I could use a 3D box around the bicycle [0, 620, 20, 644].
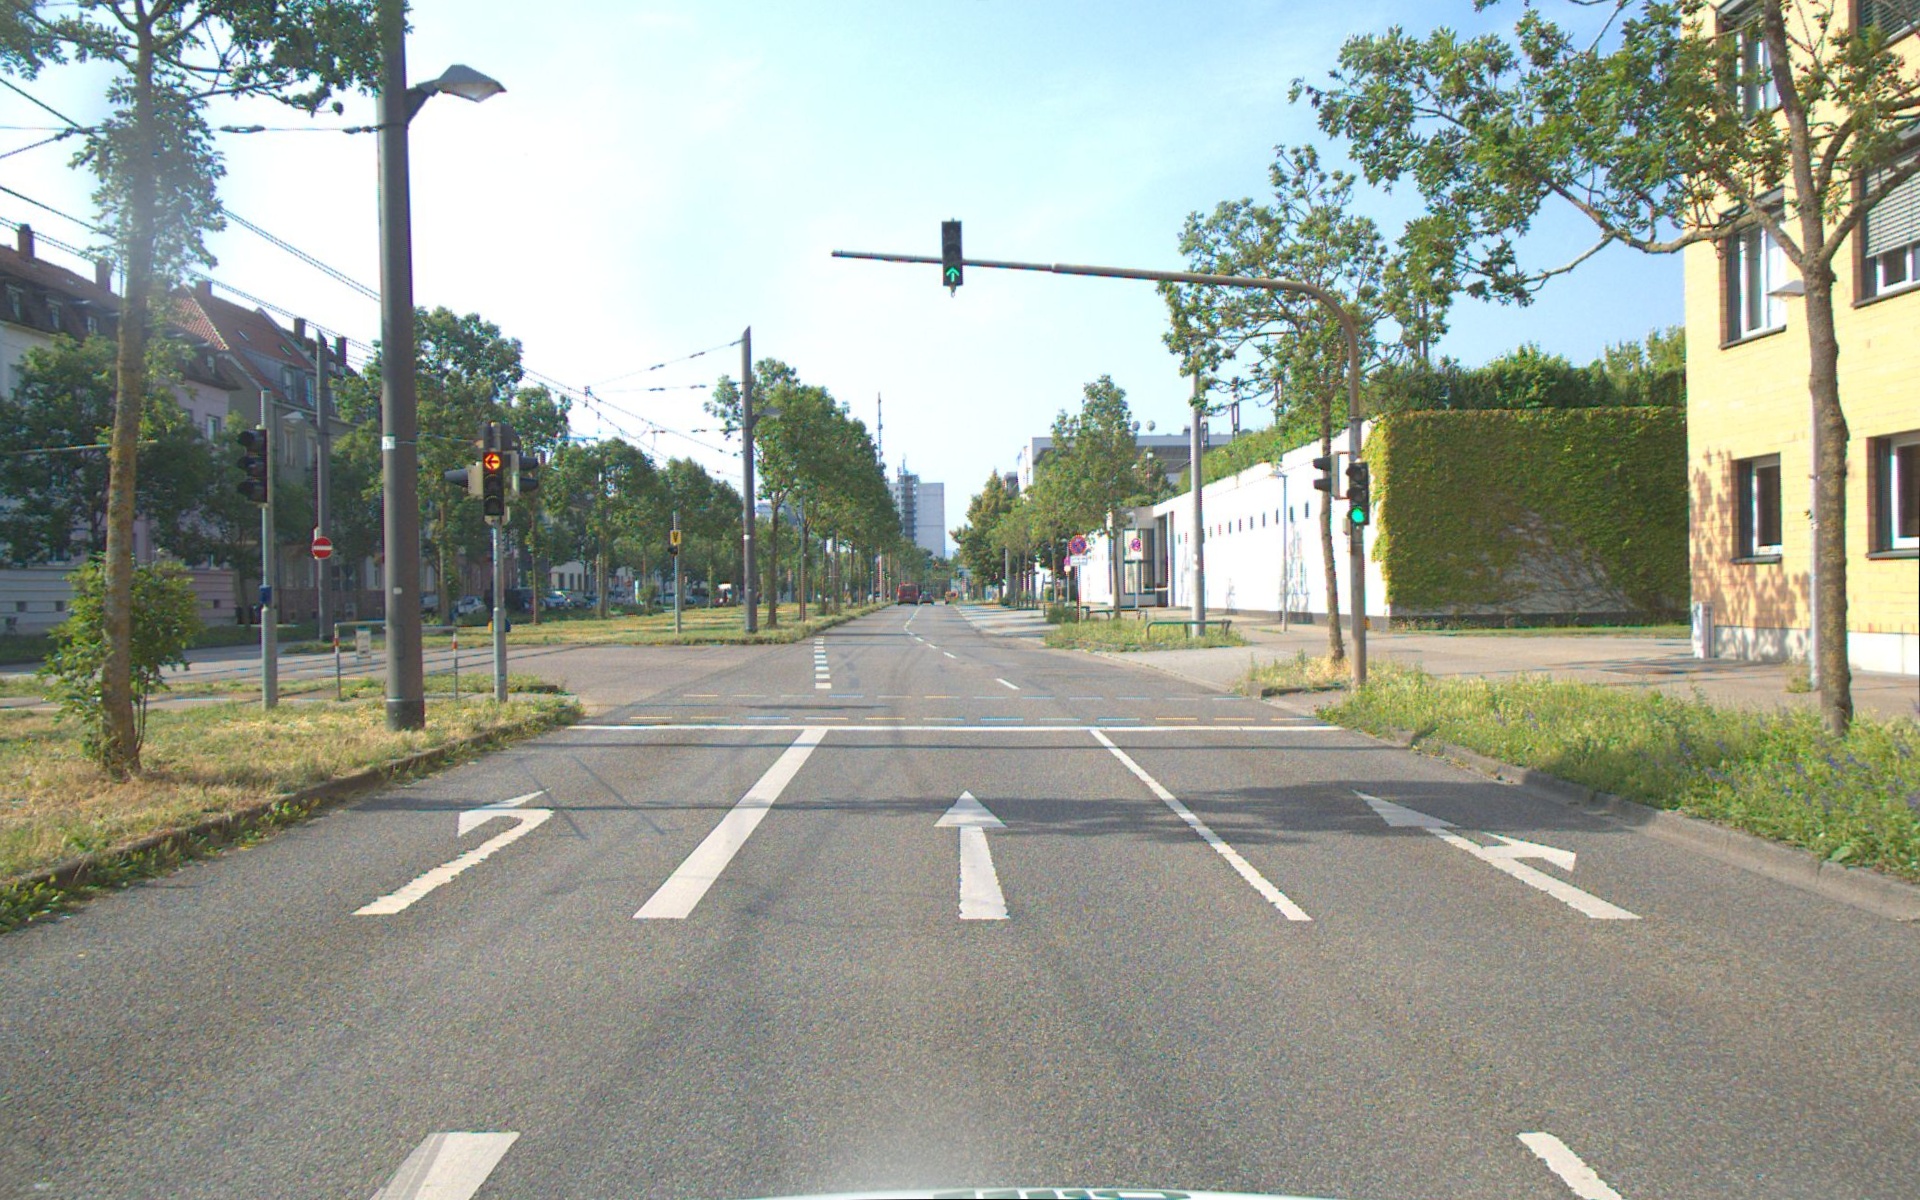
[{"bbox_3d":[-33.159,1.118,57.021,0.428,0.803,1.946,1,0,-2],"label":"bicycle"}]

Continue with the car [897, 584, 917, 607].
[{"bbox_3d":[-4.860,-0.416,151.525,1.712,2.049,3.215,1,0,0],"label":"car"}]

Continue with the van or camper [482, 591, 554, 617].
[{"bbox_3d":[-29.566,0.273,110.598,4.747,1.652,1.998,1,-1,32],"label":"van or camper"}]

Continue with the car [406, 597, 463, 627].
[{"bbox_3d":[-30.795,0.706,97.056,1.954,1.657,4.772,1,0,-3],"label":"car"}]

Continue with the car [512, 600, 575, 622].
[{"bbox_3d":[-29.295,0.798,116.255,4.388,1.444,1.967,1,-1,36],"label":"car"}]

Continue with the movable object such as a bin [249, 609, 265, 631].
[{"bbox_3d":[-38.781,1.105,91.242,0.573,1.232,0.640,1,-1,-2],"label":"movable object such as a bin"}]

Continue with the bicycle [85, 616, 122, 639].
[{"bbox_3d":[-33.176,1.051,64.087,0.438,0.872,1.946,1,0,-2],"label":"bicycle"}]

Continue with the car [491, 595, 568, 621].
[{"bbox_3d":[-29.486,0.526,113.126,5.107,1.652,2.053,1,-1,30],"label":"car"}]

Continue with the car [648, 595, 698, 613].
[{"bbox_3d":[-30.437,0.421,175.233,5.216,1.768,1.994,1,-1,33],"label":"car"}]

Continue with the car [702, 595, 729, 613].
[{"bbox_3d":[-25.036,0.424,169.741,1.924,1.724,4.298,1,0,3],"label":"car"}]

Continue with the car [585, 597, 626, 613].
[{"bbox_3d":[-29.118,0.417,135.839,3.097,1.181,1.493,1,-1,32],"label":"car"}]

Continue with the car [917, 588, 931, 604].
[{"bbox_3d":[-4.799,-0.463,219.675,1.712,2.049,3.215,1,0,0],"label":"car"}]

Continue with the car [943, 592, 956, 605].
[{"bbox_3d":[-1.420,-0.223,225.211,1.712,1.679,3.215,1,0,0],"label":"car"}]

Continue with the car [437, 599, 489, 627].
[{"bbox_3d":[-30.921,0.783,103.089,1.851,1.657,4.157,1,0,2],"label":"car"}]
